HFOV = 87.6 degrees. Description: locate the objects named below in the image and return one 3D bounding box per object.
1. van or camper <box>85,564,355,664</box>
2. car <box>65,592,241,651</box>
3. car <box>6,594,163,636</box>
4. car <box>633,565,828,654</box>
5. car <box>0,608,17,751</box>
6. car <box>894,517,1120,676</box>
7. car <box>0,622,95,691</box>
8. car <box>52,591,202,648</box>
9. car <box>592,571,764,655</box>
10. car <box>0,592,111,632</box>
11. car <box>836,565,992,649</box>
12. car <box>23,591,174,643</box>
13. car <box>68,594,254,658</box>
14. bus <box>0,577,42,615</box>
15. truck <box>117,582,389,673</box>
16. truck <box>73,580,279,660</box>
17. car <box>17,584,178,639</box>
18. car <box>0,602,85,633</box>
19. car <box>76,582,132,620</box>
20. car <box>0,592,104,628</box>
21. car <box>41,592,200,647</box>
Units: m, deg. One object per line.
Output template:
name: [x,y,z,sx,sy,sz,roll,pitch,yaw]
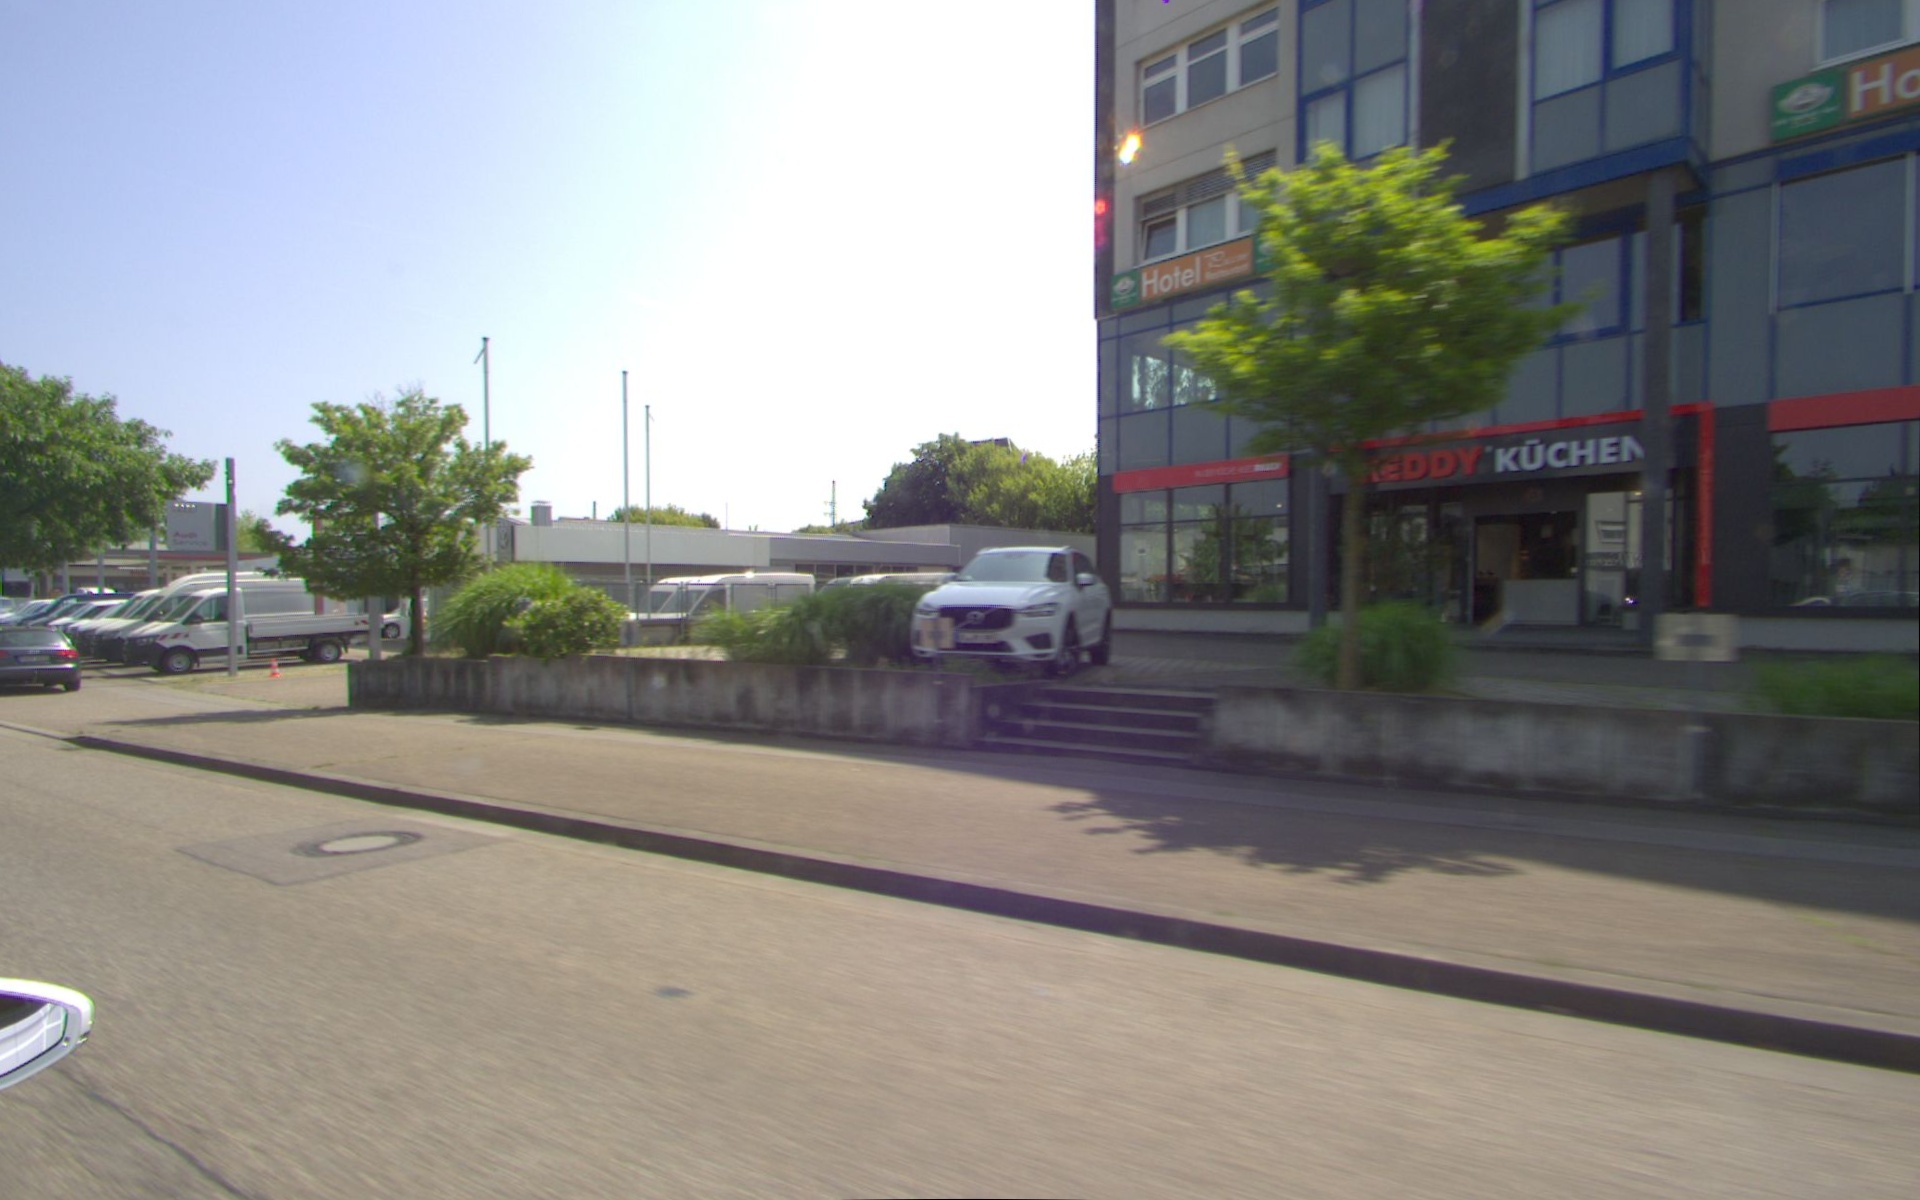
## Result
van or camper: [-24.012,0.379,32.827,2.249,2.937,6.763,1,1,41]
car: [-30.498,0.756,37.949,2.117,1.997,4.886,0,1,42]
car: [-44.301,0.789,50.800,2.235,2.040,5.860,0,-1,44]
car: [-7.131,0.358,31.677,2.098,2.560,5.852,-2,-2,44]
car: [-13.076,0.939,11.850,4.336,1.618,1.907,-1,0,35]
car: [0.848,0.052,13.429,1.964,1.735,4.736,-1,-2,16]
car: [-21.234,1.212,22.719,4.269,1.424,1.790,-1,-2,40]
car: [-34.624,0.767,41.708,2.174,2.041,4.482,-1,2,42]
car: [-9.283,0.485,33.341,2.016,2.569,5.254,-2,-2,43]
car: [-50.635,0.621,55.902,1.936,2.041,4.617,1,3,40]
car: [-1.572,0.339,36.854,1.979,2.845,6.084,-2,-2,43]
car: [-38.809,0.699,45.202,2.104,2.144,4.874,1,3,40]
car: [-28.631,0.840,36.027,2.134,2.142,4.925,1,1,40]
bus: [-83.871,-0.466,89.201,2.787,3.120,12.157,0,1,-44]
truck: [-20.764,0.687,29.715,2.342,2.369,6.209,1,2,43]
truck: [-26.605,0.601,34.127,2.088,2.469,5.216,1,2,43]
car: [-42.162,0.601,49.060,2.182,2.556,5.810,-1,-2,44]
car: [-49.193,0.929,53.533,3.606,1.591,1.700,1,-1,-43]
car: [-62.965,0.032,73.586,6.938,2.712,2.244,1,2,42]
car: [-49.722,0.514,54.792,1.860,1.804,4.129,-2,0,41]
car: [-36.713,0.792,43.926,2.016,2.126,5.037,0,2,41]
